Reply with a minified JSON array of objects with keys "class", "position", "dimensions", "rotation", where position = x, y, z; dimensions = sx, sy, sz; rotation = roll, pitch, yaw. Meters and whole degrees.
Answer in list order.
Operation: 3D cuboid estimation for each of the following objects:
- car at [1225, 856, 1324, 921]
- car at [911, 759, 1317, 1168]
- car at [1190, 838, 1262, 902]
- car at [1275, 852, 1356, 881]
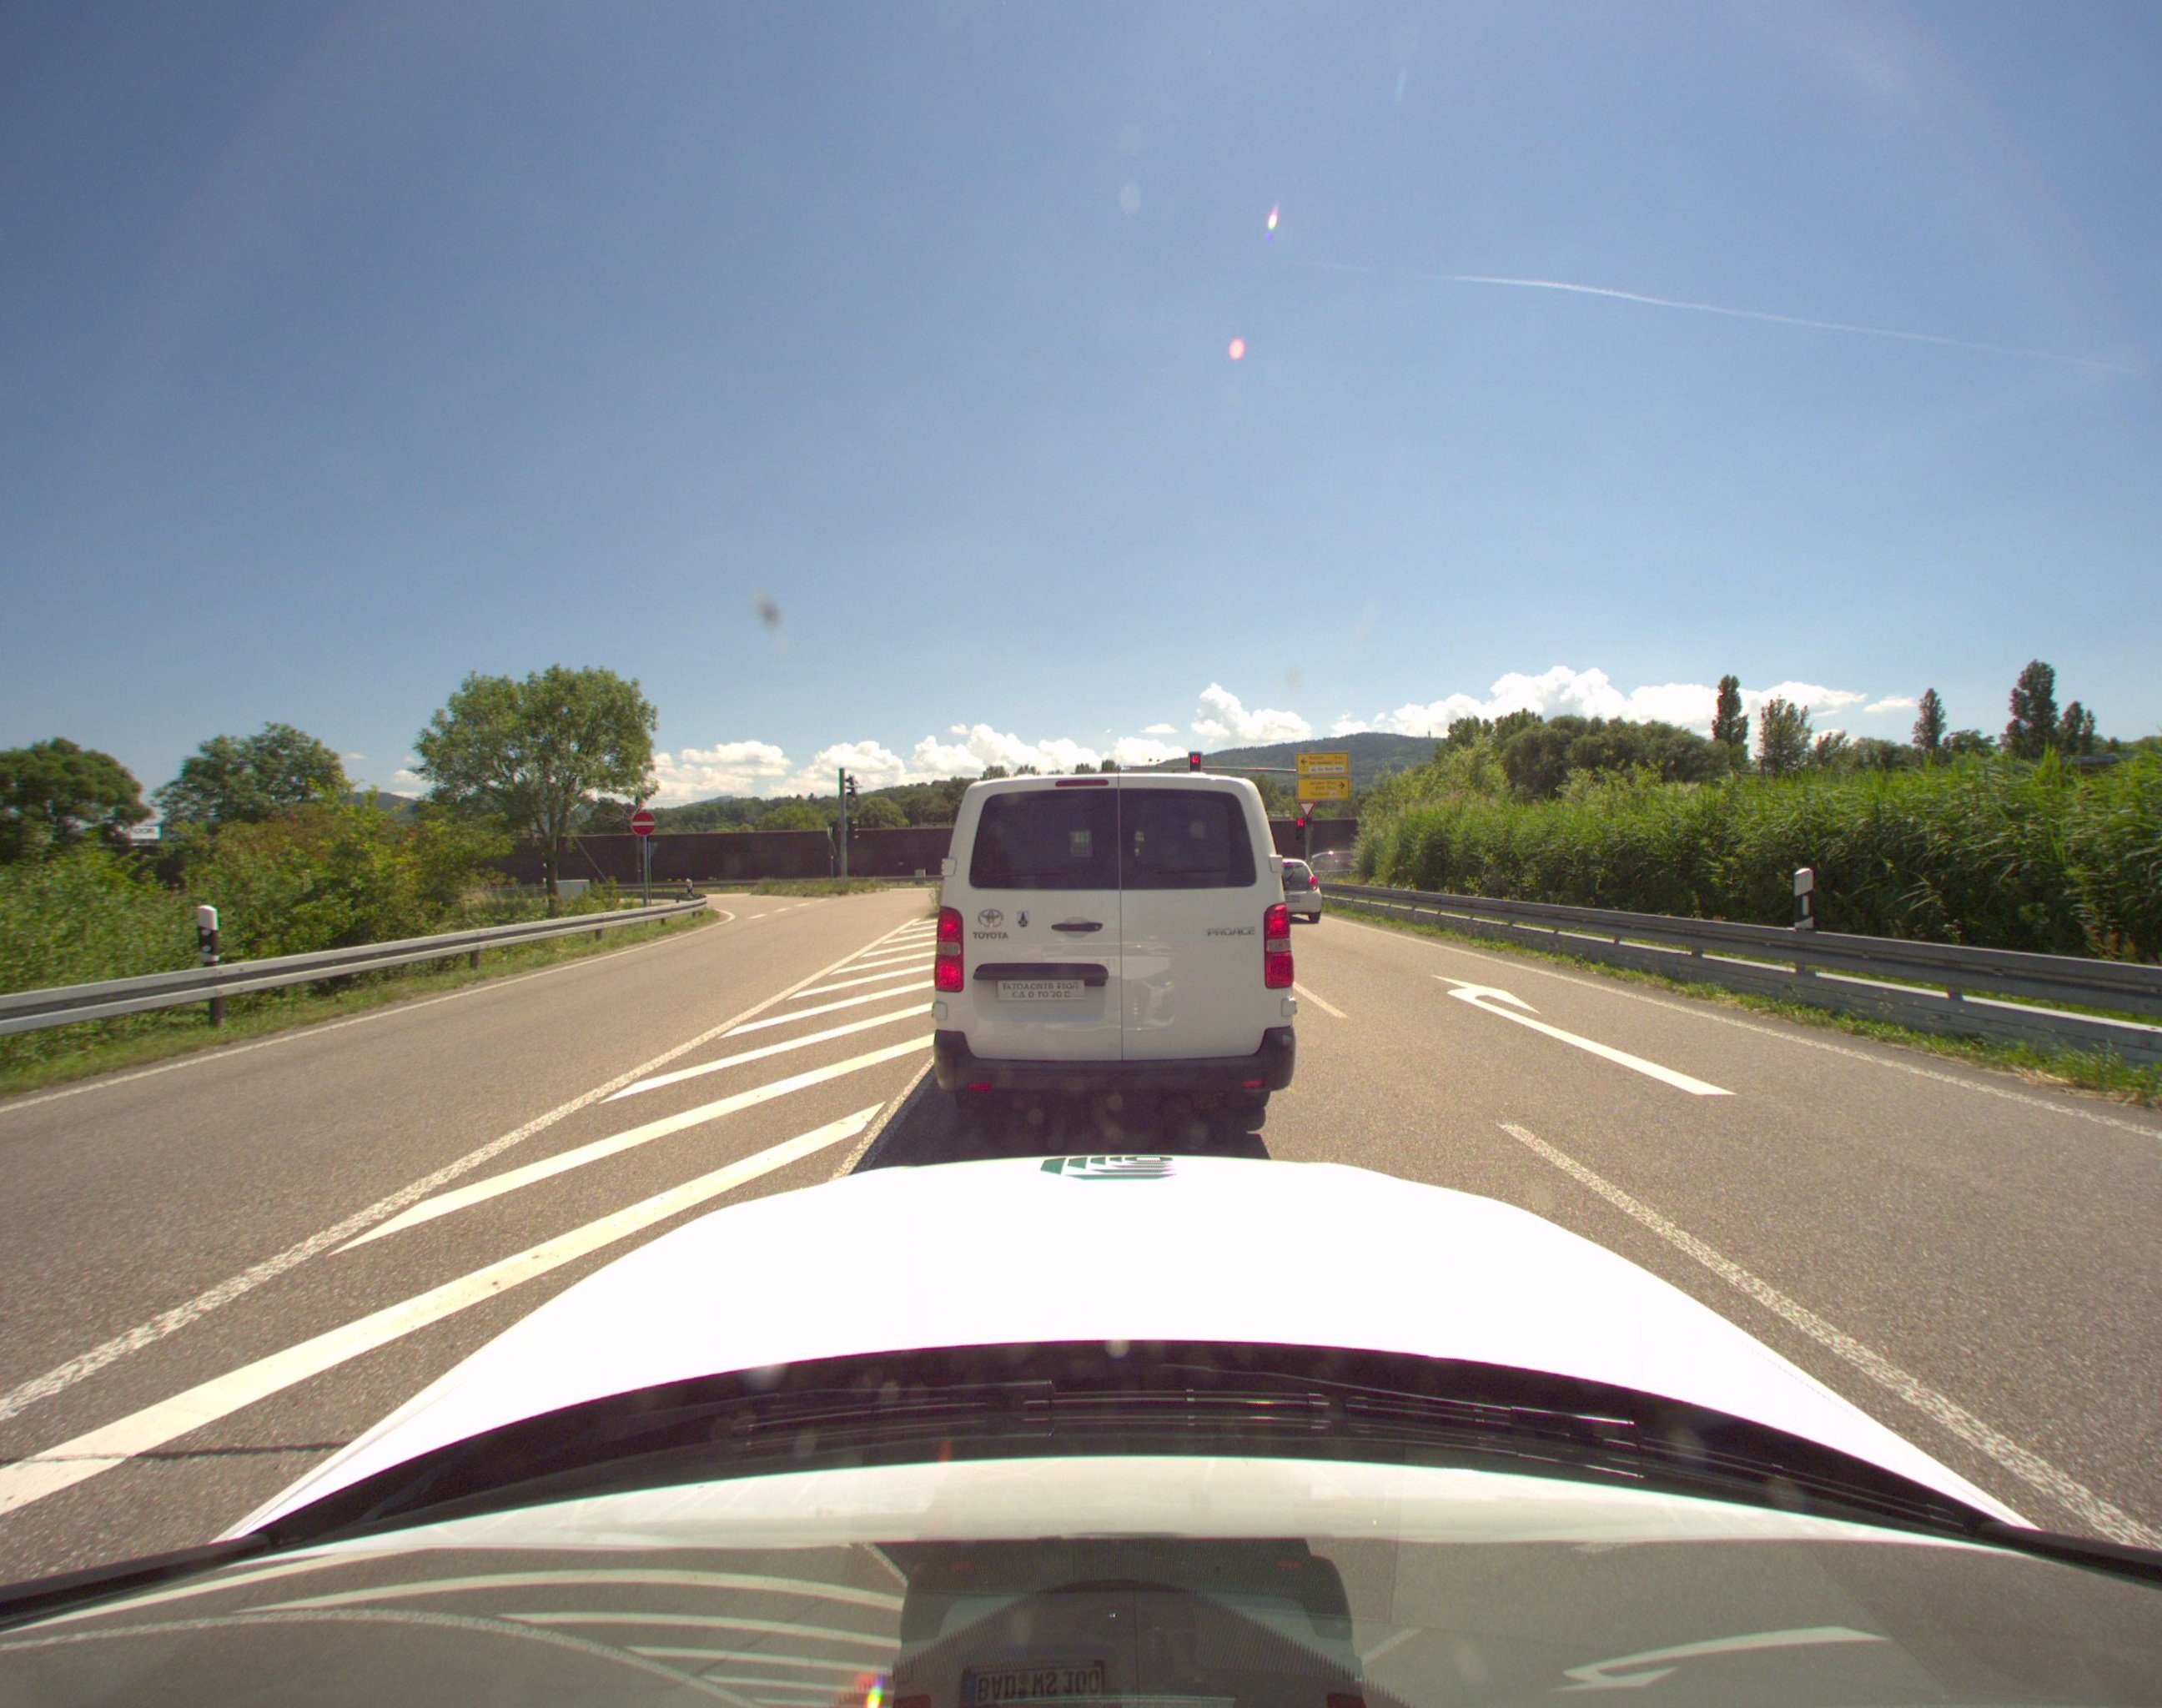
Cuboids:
[{"class":"car","position":[4.560,0.768,19.661],"dimensions":[1.650,1.431,3.366],"rotation":[-1,0,1]},{"class":"car","position":[0.198,0.523,5.800],"dimensions":[1.880,1.886,4.001],"rotation":[-1,0,1]},{"class":"car","position":[4.918,0.530,28.242],"dimensions":[1.920,2.000,4.842],"rotation":[-1,0,3]},{"class":"car","position":[14.258,0.741,49.652],"dimensions":[4.298,1.656,1.999],"rotation":[-1,-1,-2]}]
